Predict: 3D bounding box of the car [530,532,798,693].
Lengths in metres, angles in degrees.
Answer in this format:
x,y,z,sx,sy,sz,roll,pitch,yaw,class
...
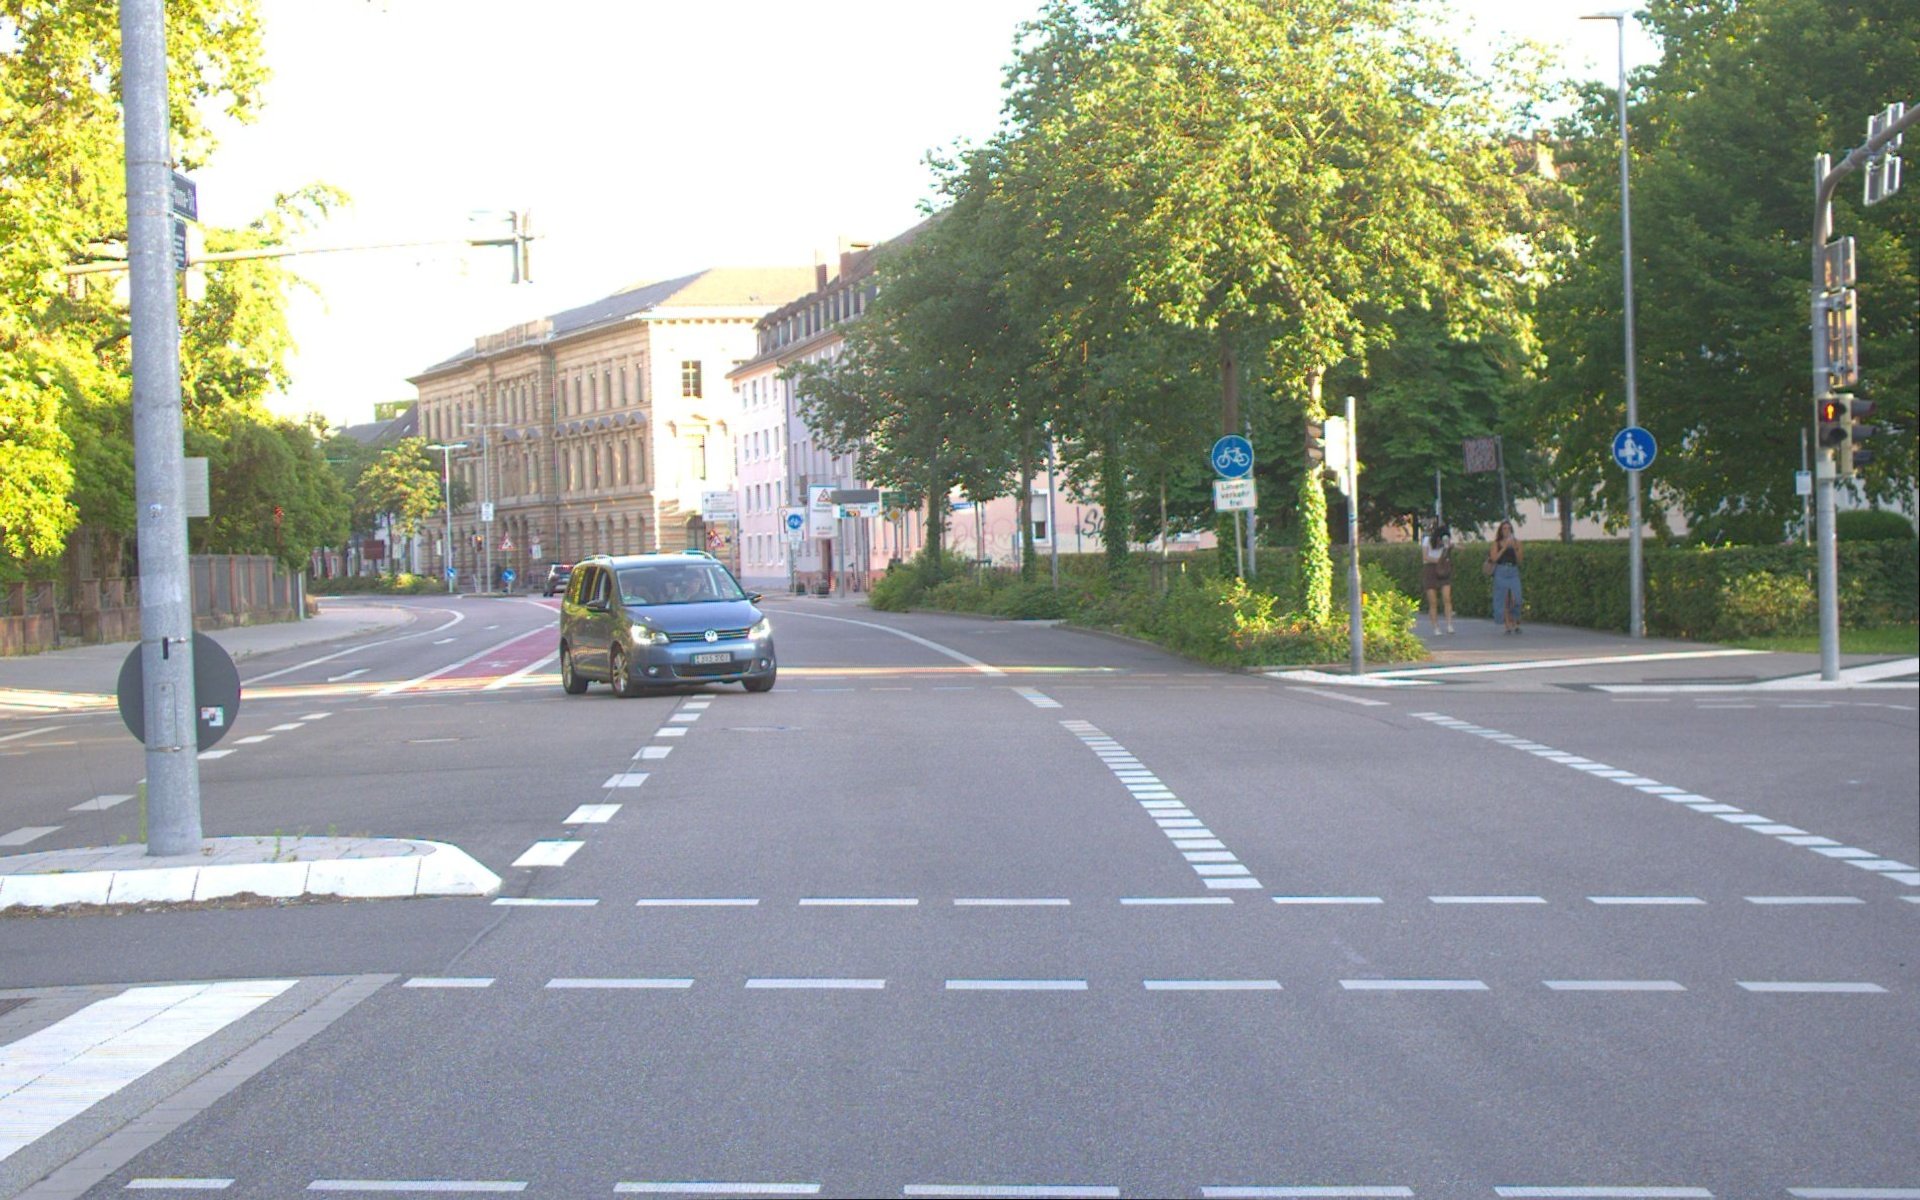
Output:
x,y,z,sx,sy,sz,roll,pitch,yaw,class
-3.510,0.121,40.013,1.849,1.714,4.297,-2,1,-23,car

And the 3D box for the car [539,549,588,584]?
x,y,z,sx,sy,sz,roll,pitch,yaw,class
-19.598,-1.654,169.741,1.819,1.583,4.001,-3,1,-14,car

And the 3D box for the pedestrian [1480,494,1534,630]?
x,y,z,sx,sy,sz,roll,pitch,yaw,class
8.099,-0.565,50.936,0.635,2.007,0.720,-1,1,-4,pedestrian

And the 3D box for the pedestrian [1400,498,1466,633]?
x,y,z,sx,sy,sz,roll,pitch,yaw,class
7.080,-0.516,51.464,0.870,2.007,0.722,0,1,-1,pedestrian

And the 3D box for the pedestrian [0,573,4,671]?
x,y,z,sx,sy,sz,roll,pitch,yaw,class
-15.702,0.361,54.964,0.599,1.568,0.646,-2,1,-1,pedestrian
